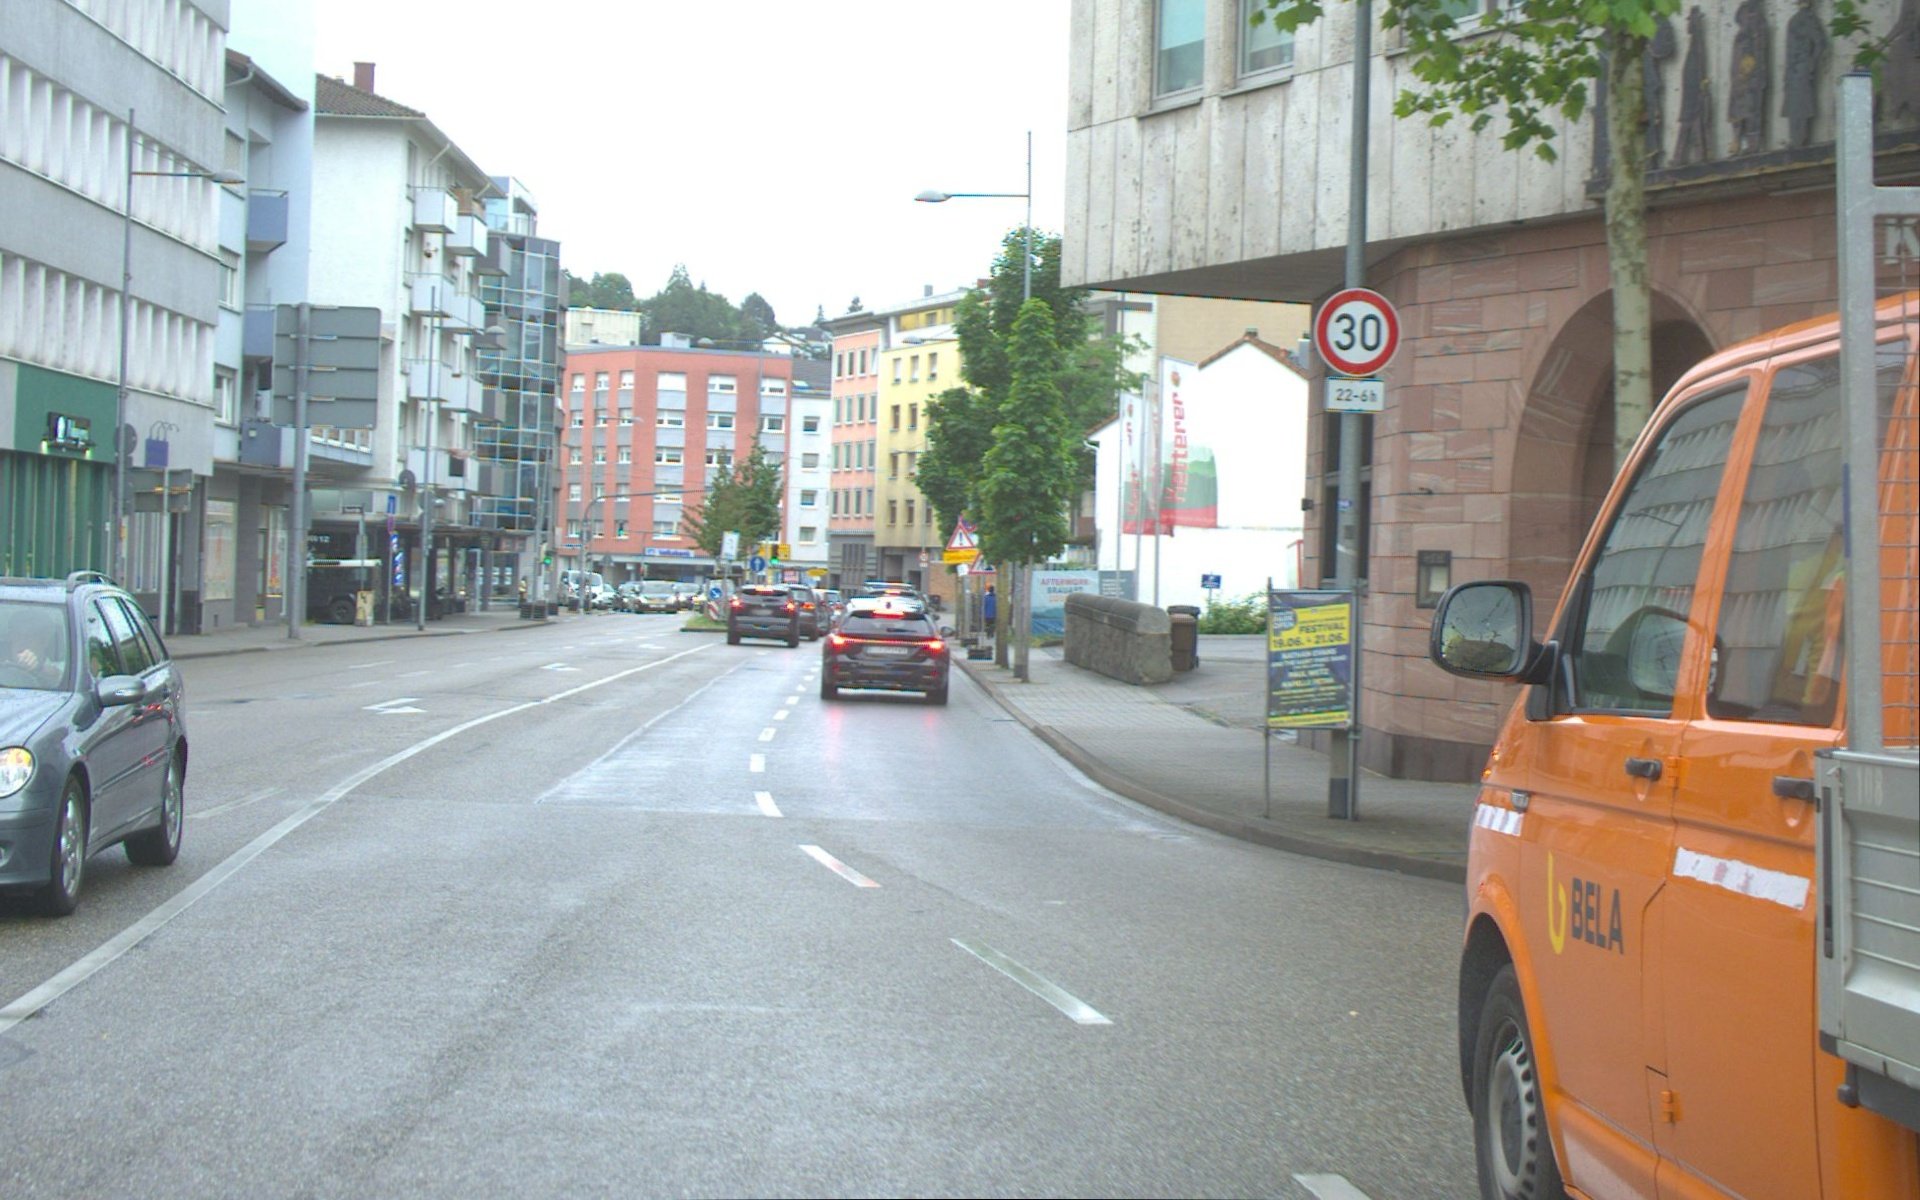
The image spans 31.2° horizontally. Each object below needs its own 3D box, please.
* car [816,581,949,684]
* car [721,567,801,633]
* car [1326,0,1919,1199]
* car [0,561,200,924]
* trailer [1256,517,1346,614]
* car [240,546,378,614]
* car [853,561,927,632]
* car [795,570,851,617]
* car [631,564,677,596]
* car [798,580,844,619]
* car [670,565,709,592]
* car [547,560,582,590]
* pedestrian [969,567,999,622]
[{"bbox_3d":[-1.195,0.448,50.990,1.789,1.398,4.634,1,1,-3],"label":"car"},{"bbox_3d":[-5.200,-0.004,90.384,1.823,1.595,3.718,3,0,0],"label":"car"},{"bbox_3d":[2.037,0.351,5.185,2.101,2.082,5.542,-1,1,-3],"label":"car"},{"bbox_3d":[-4.669,0.538,15.777,1.732,1.435,4.414,1,1,-5],"label":"car"},{"bbox_3d":[9.828,-1.025,99.430,2.127,2.707,5.391,-1,1,1],"label":"trailer"},{"bbox_3d":[-20.344,-0.620,107.529,3.963,2.027,1.580,1,0,0],"label":"car"},{"bbox_3d":[-1.938,-0.112,95.901,1.830,1.799,3.719,3,1,1],"label":"car"},{"bbox_3d":[-4.070,-0.197,102.479,1.641,1.376,3.348,0,0,-2],"label":"car"},{"bbox_3d":[-14.293,-0.933,160.847,1.708,1.463,4.829,-1,1,0],"label":"car"},{"bbox_3d":[-5.048,-0.018,125.232,1.641,1.376,3.348,0,0,-2],"label":"car"},{"bbox_3d":[-14.373,-1.141,182.426,1.720,1.418,4.166,-1,1,-9],"label":"car"},{"bbox_3d":[-21.304,-1.346,185.199,1.455,1.425,3.371,3,1,-12],"label":"car"},{"bbox_3d":[0.780,-0.171,110.572,0.792,1.749,0.871,0,0,12],"label":"pedestrian"}]
